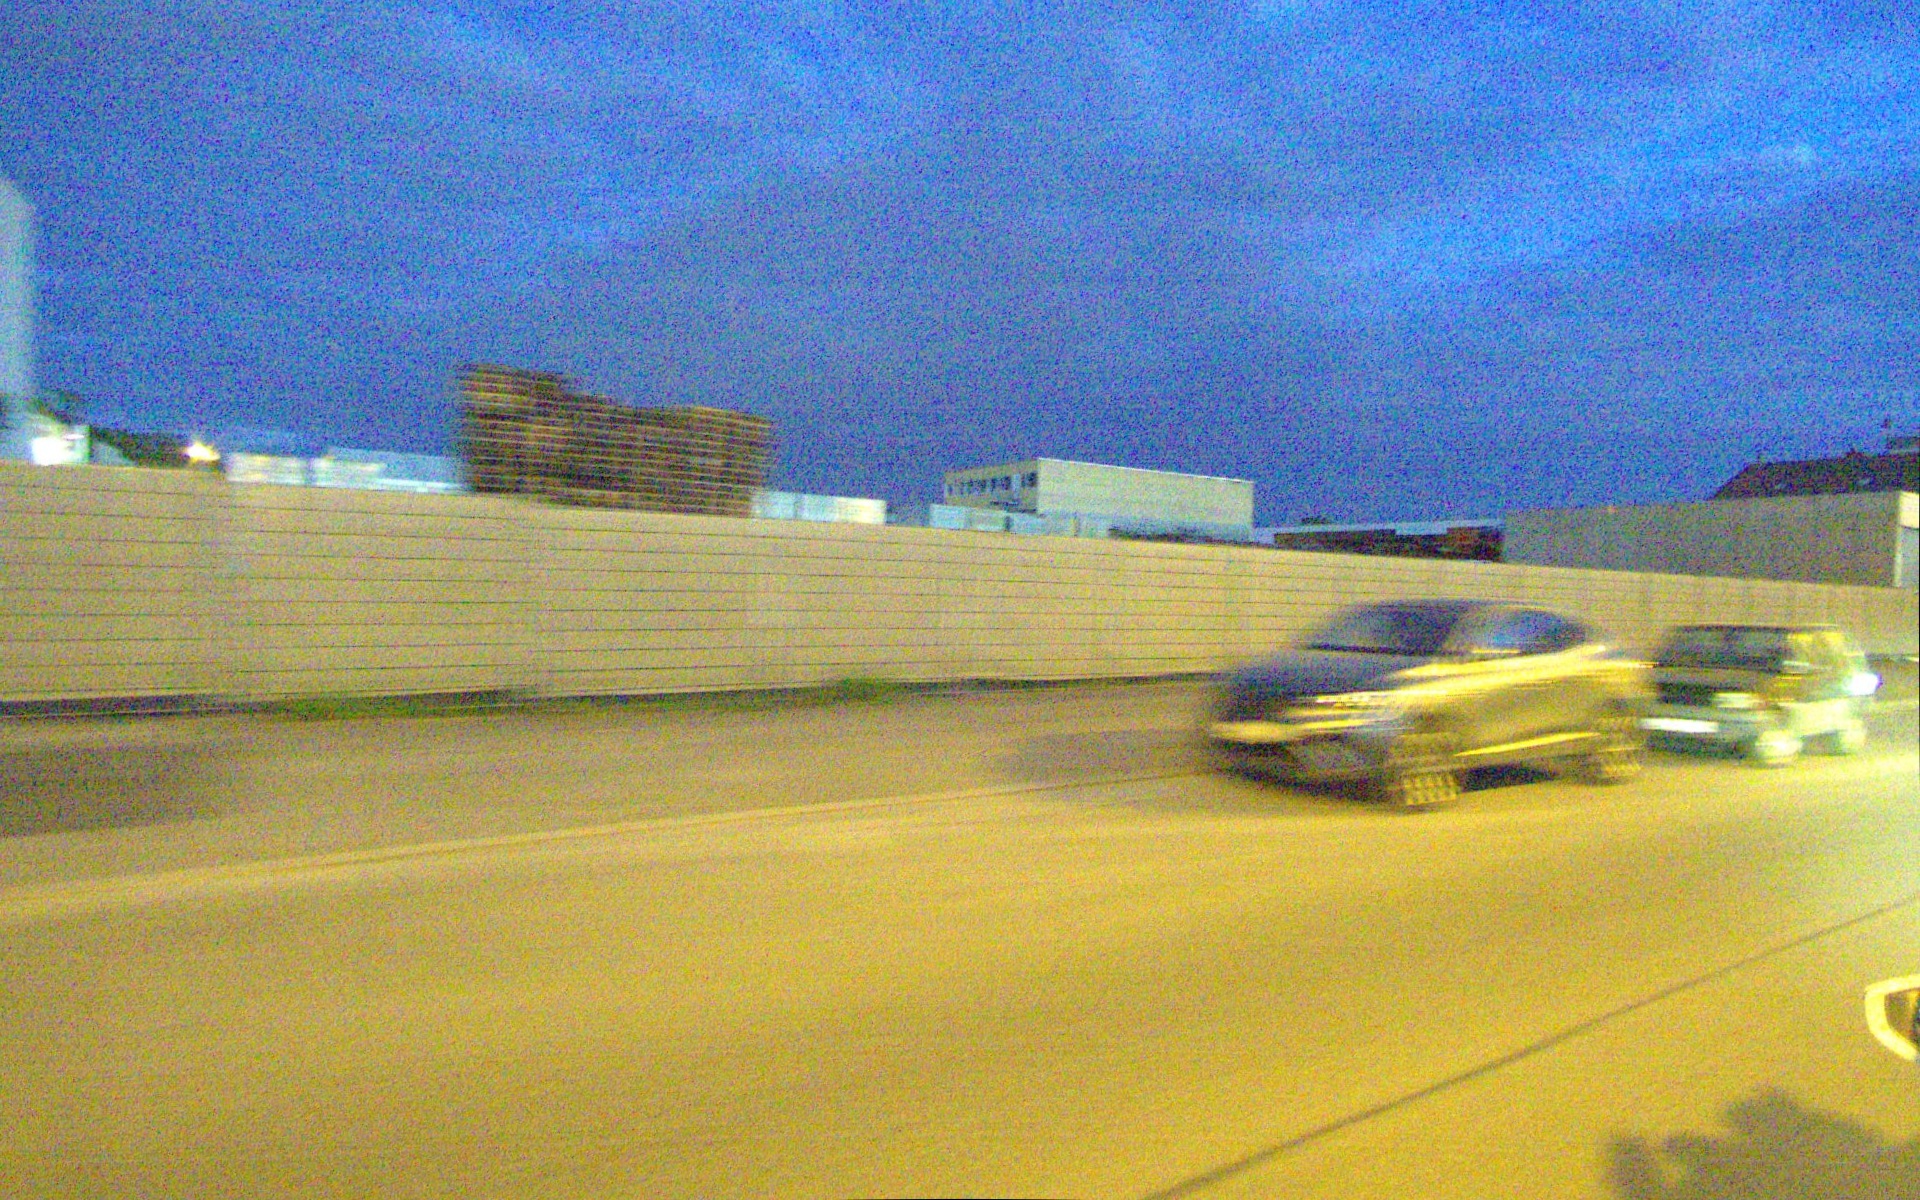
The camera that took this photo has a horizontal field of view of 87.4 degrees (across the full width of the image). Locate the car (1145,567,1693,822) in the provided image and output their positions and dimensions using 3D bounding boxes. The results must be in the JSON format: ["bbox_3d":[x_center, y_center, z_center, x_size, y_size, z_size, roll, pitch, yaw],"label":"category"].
[{"bbox_3d":[4.075,0.679,8.682,4.721,1.658,1.982,2,1,-32],"label":"car"}]

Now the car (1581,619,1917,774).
[{"bbox_3d":[8.772,0.972,11.094,3.954,1.372,1.593,2,1,-31],"label":"car"}]
